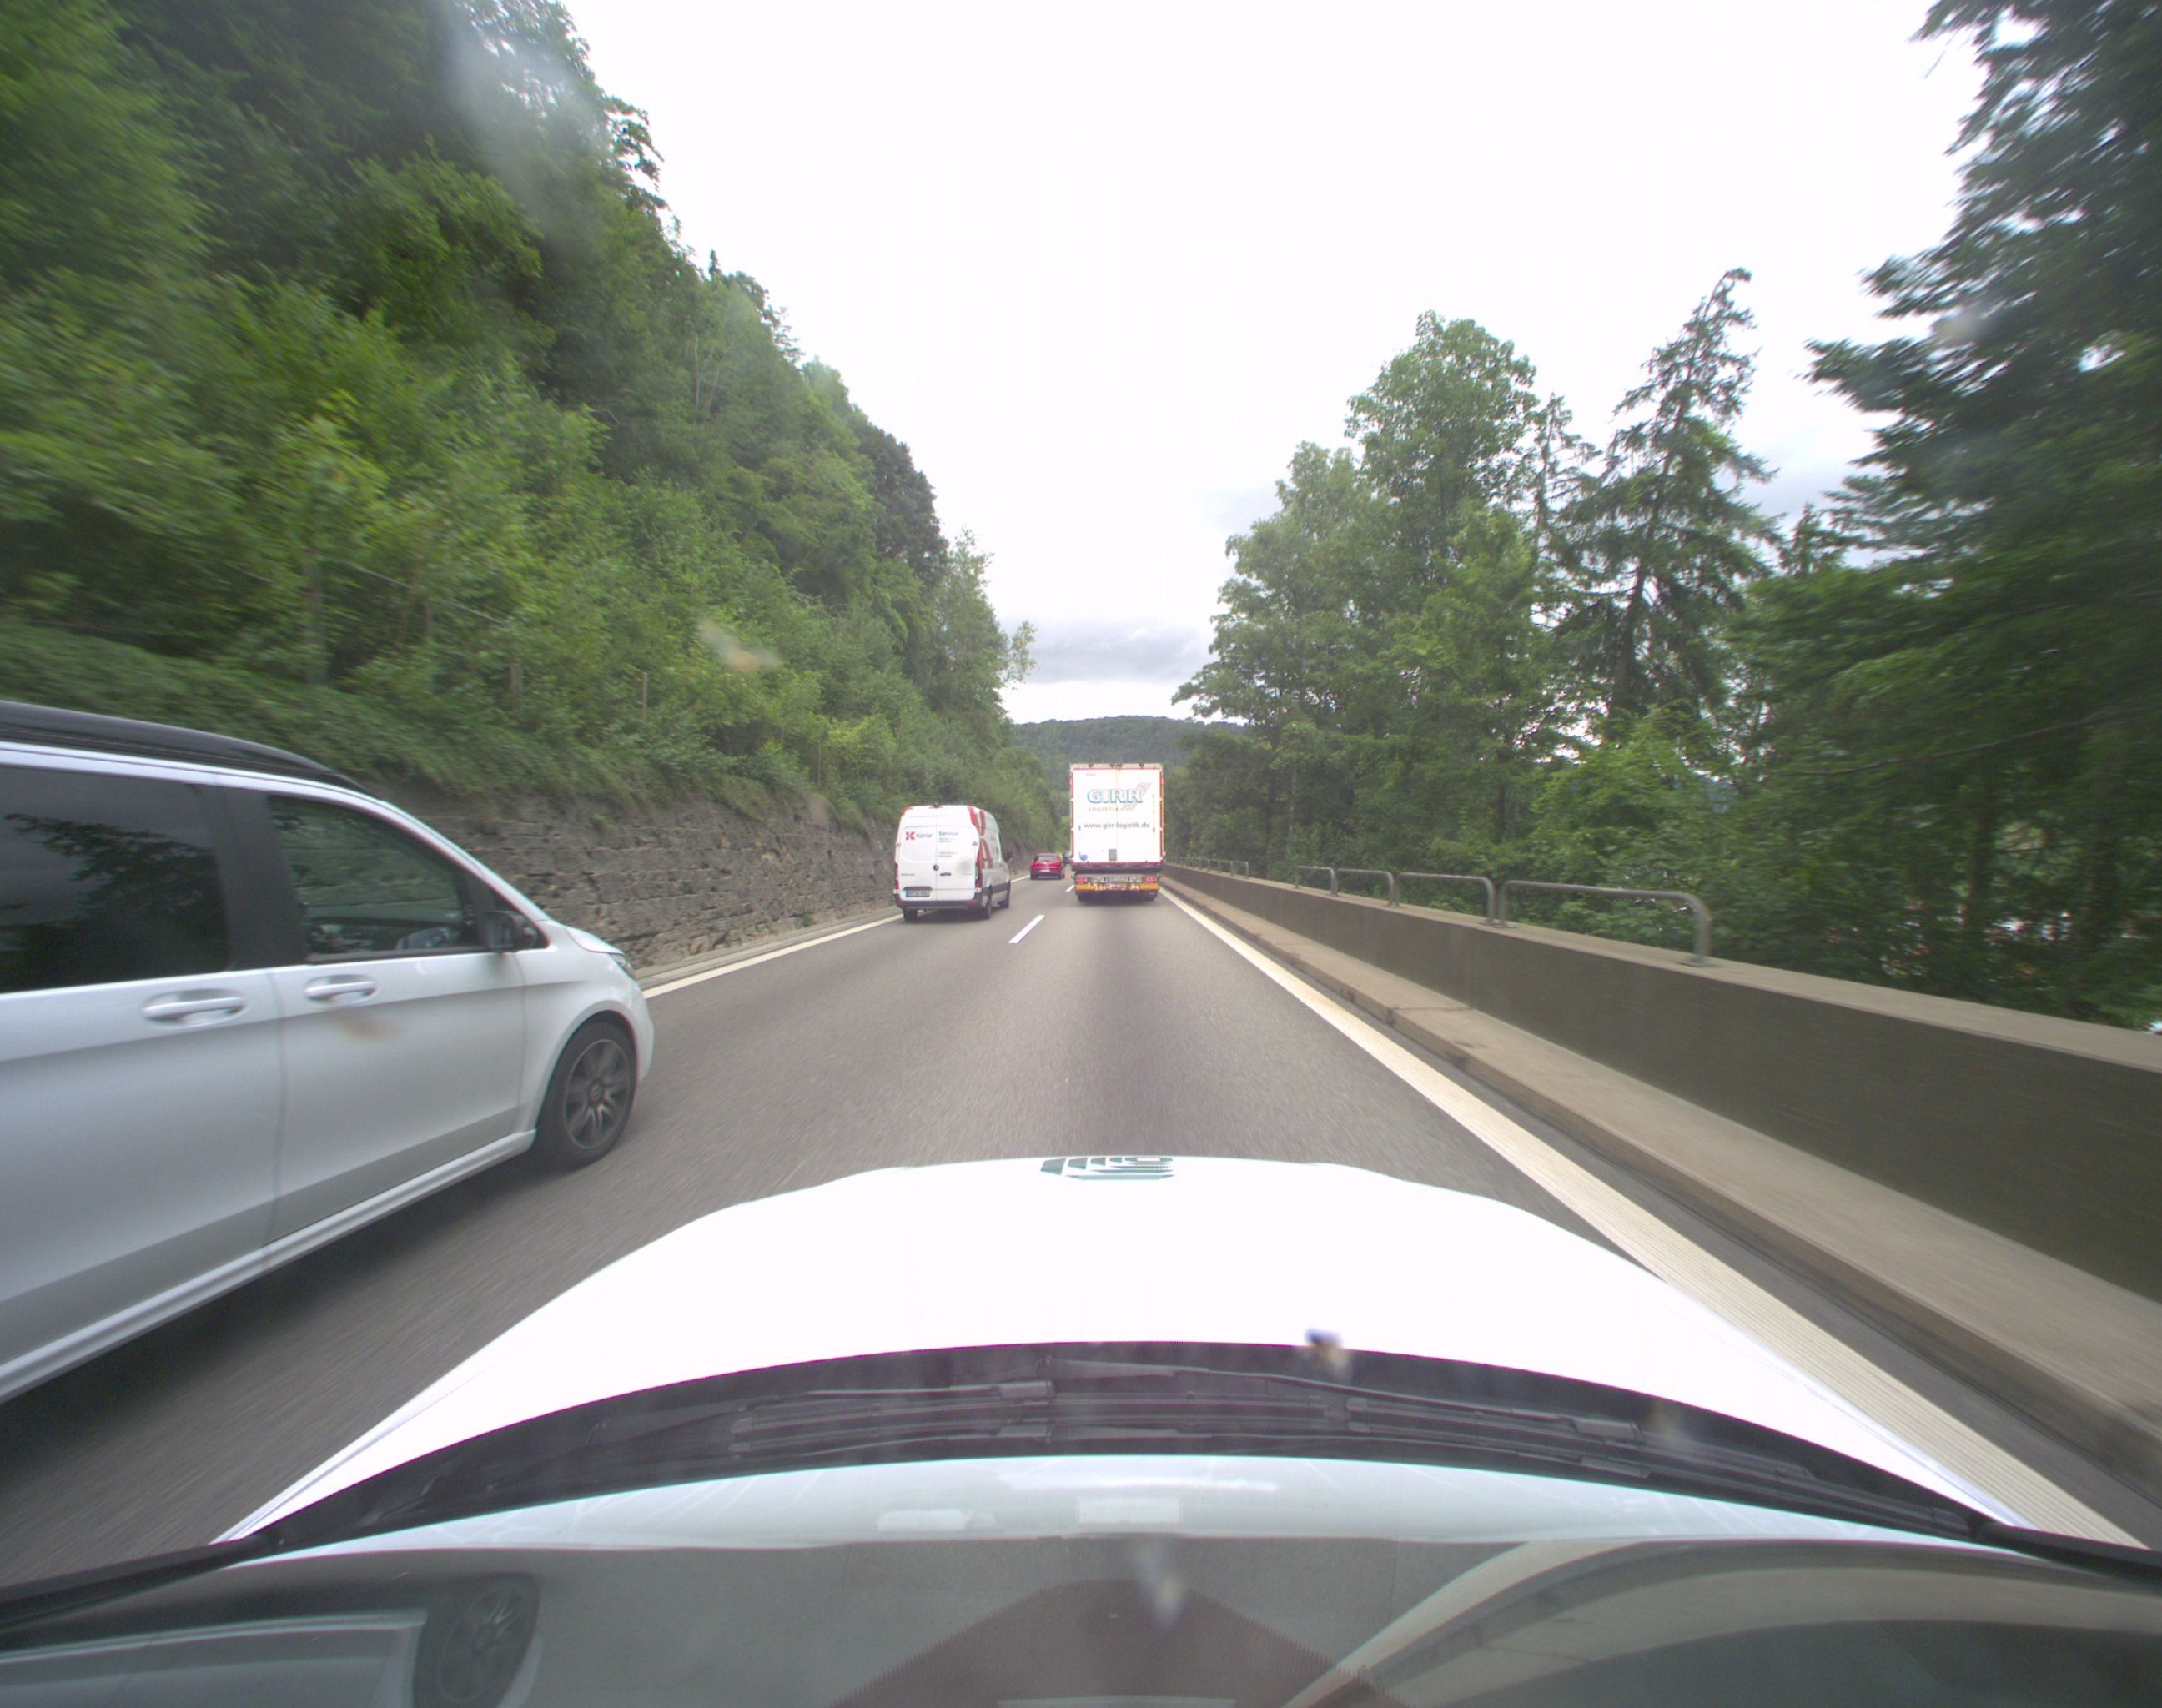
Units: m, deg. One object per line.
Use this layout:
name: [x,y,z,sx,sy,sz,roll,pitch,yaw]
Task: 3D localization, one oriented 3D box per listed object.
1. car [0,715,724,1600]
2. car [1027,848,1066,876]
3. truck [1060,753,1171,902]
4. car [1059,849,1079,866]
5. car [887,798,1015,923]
car: [-3.368,0.671,2.121,1.986,1.953,6.150,0,0,2]
car: [-1.900,0.452,46.156,1.759,1.460,4.414,-2,0,3]
truck: [1.166,-0.718,26.644,2.897,3.960,9.285,-1,0,3]
car: [-1.160,0.363,80.767,1.662,1.638,4.070,-1,0,2]
car: [-2.992,0.143,20.313,2.019,2.585,6.275,-1,0,1]
